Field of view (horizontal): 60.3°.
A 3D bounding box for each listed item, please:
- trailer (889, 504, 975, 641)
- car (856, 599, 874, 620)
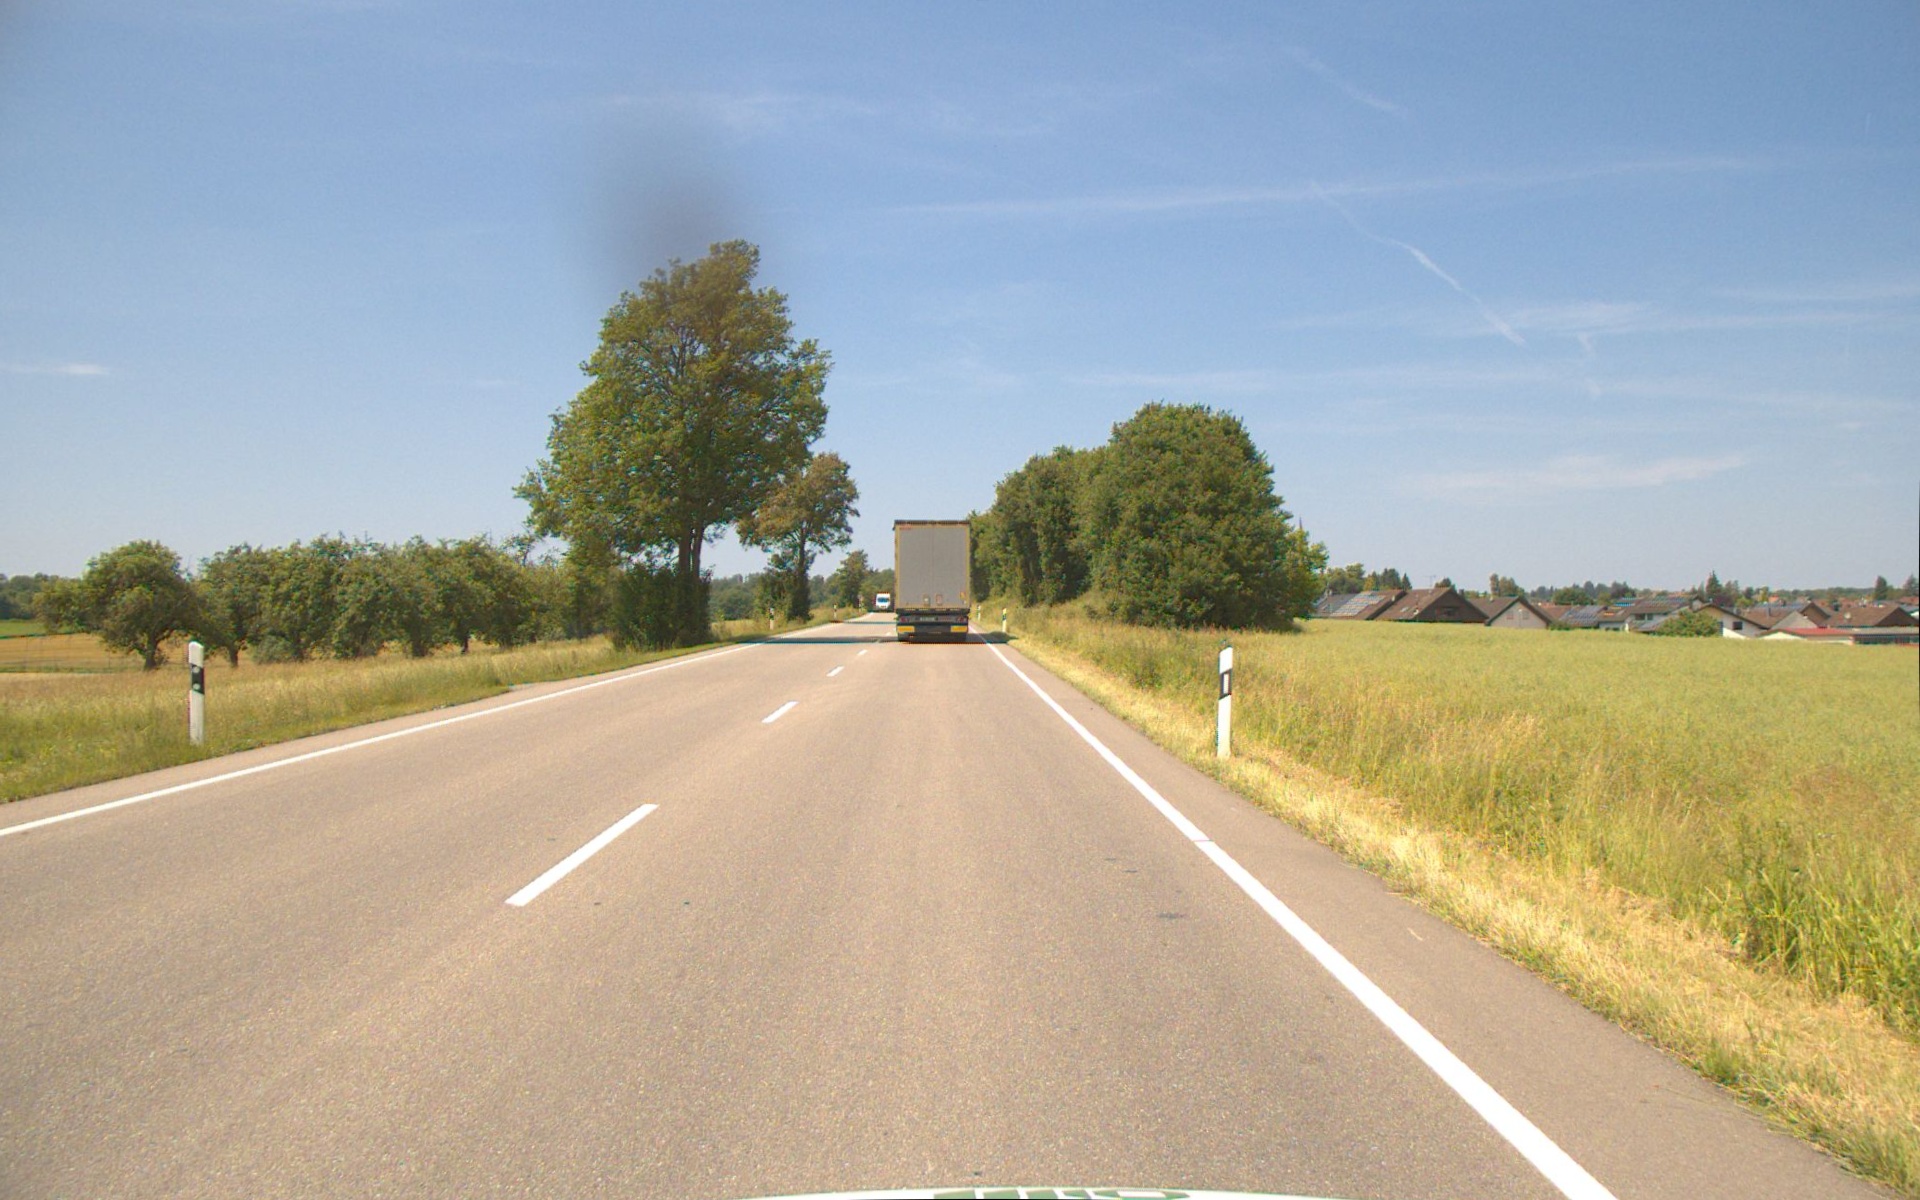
[{"bbox_3d":[-1.075,-0.893,60.715,2.809,4.478,13.489,0,0,-1],"label":"trailer"},{"bbox_3d":[-9.661,0.946,168.499,1.836,2.049,4.072,1,0,-3],"label":"car"}]
